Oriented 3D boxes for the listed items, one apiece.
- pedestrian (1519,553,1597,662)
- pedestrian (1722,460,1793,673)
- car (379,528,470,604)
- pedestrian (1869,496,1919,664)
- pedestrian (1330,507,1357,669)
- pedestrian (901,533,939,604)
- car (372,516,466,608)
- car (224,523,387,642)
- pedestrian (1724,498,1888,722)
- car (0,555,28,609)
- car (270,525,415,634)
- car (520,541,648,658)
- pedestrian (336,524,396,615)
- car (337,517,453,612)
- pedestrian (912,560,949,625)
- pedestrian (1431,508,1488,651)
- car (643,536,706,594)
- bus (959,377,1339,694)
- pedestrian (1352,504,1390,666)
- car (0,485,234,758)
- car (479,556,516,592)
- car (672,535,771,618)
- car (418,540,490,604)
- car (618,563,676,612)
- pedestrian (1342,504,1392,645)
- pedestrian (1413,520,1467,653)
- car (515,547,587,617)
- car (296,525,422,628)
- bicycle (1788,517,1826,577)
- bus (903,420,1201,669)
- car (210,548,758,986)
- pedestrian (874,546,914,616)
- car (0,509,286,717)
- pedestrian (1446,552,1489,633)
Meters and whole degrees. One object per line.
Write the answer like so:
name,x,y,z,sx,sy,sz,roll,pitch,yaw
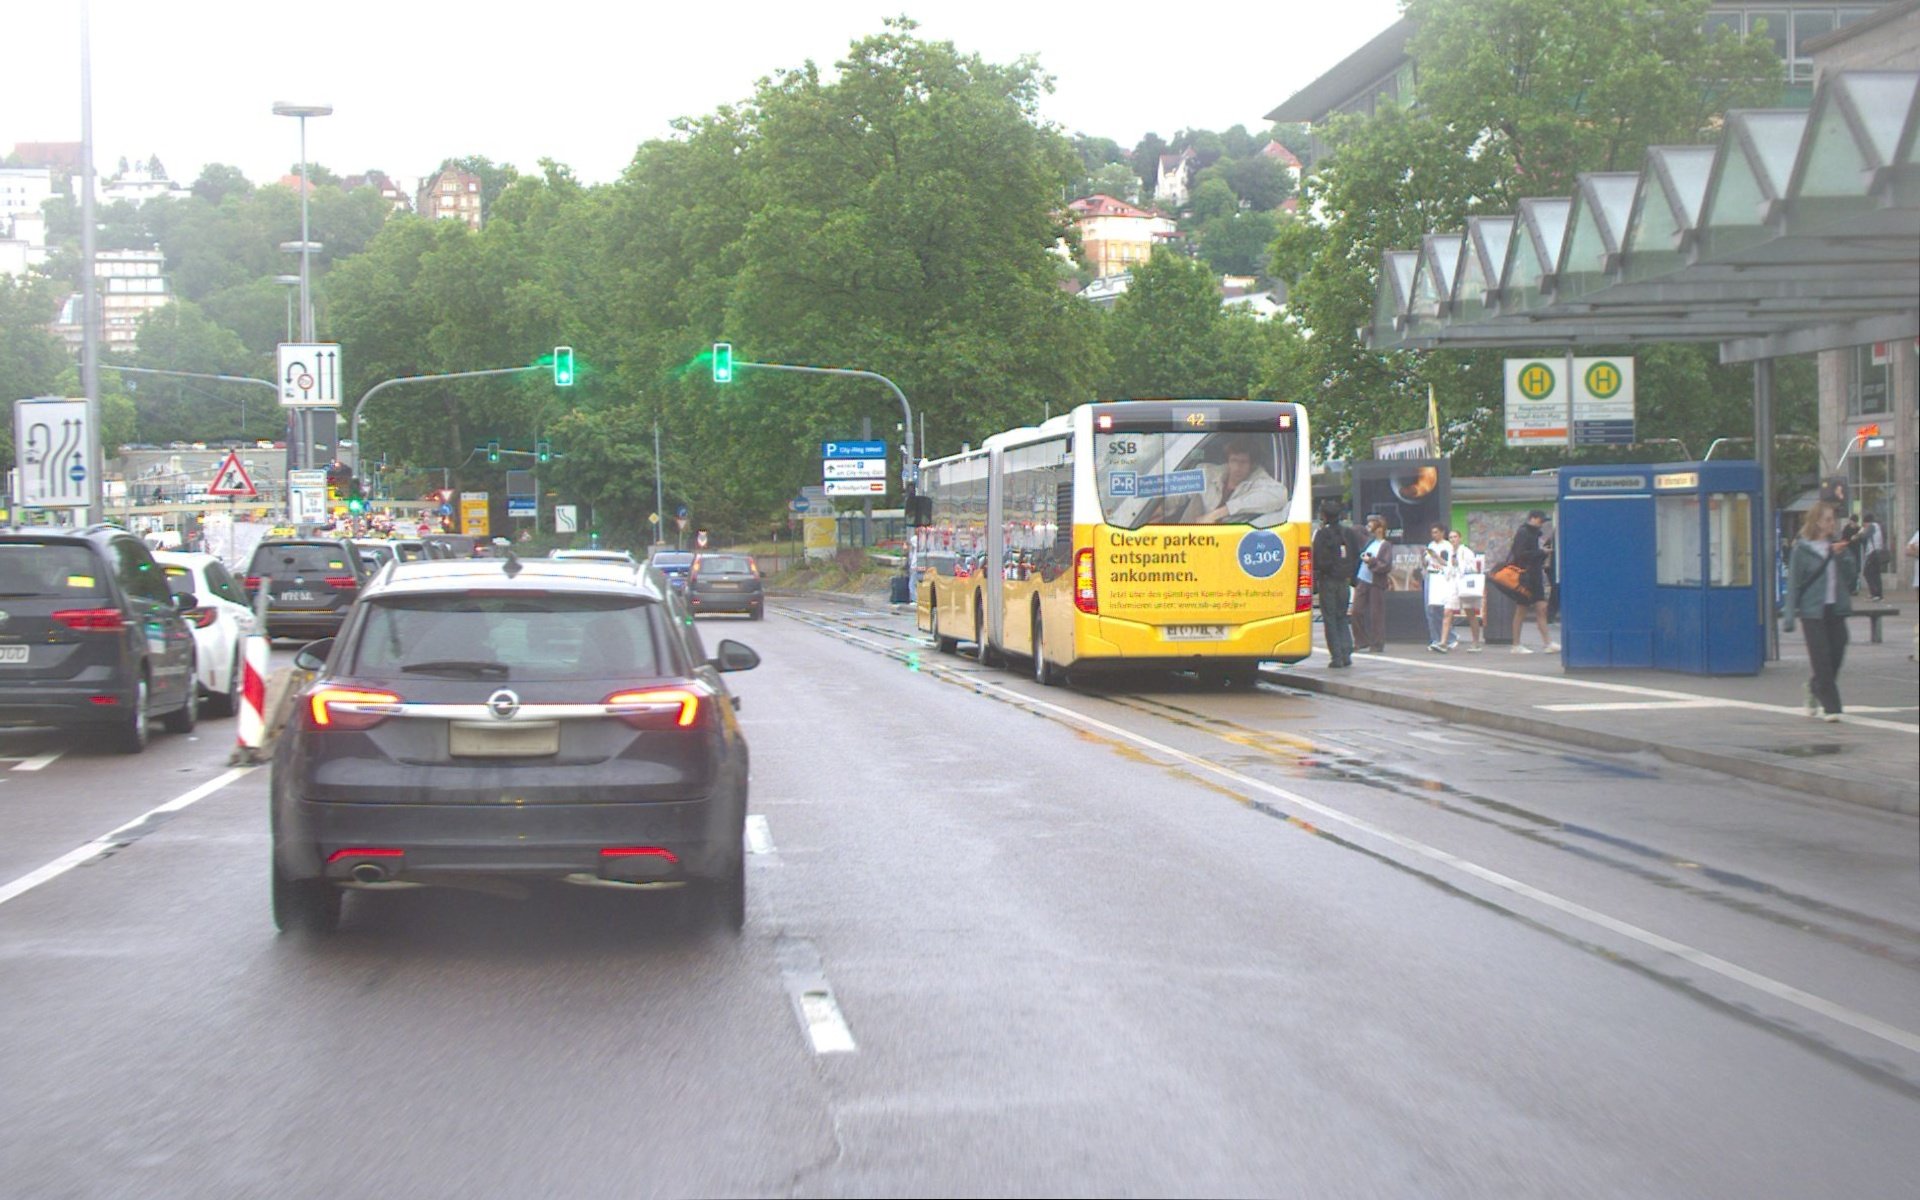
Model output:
pedestrian,10.056,0.121,57.838,0.989,1.786,0.789,-1,1,-33
pedestrian,8.371,-0.354,36.110,0.590,2.207,0.587,0,1,-3
car,-12.406,-0.812,79.894,1.786,1.680,4.667,-1,1,-5
pedestrian,10.488,-0.225,37.168,0.786,1.798,0.992,-1,1,-33
pedestrian,4.357,-0.143,39.061,0.243,1.830,0.512,0,1,-1
pedestrian,-1.016,-0.818,88.196,0.745,1.798,0.710,-1,1,-21
car,-11.584,-0.819,73.840,1.713,1.885,4.611,-1,1,-6
car,-9.648,-0.287,50.946,1.993,1.648,4.642,-1,1,-6
pedestrian,6.492,0.063,26.409,0.759,1.684,0.999,-1,1,-25
car,-27.562,-0.517,96.580,1.993,1.463,4.001,0,0,-5
car,-10.243,-0.371,57.351,2.049,1.705,5.056,-1,1,-7
car,-5.719,-0.041,52.379,1.830,1.680,4.135,-1,1,-6
pedestrian,-13.295,-0.692,76.925,0.835,2.007,1.026,0,1,32
car,-11.158,-0.710,68.200,1.993,1.781,4.849,-1,1,-6
pedestrian,-0.778,-0.203,90.001,0.875,1.685,0.758,-1,1,-6
pedestrian,6.407,-0.266,44.107,0.695,1.830,0.555,0,1,12
car,-8.030,-0.975,96.582,1.674,1.576,3.240,0,0,-6
bus,1.951,-0.694,39.873,3.141,3.236,9.137,0,0,-5
pedestrian,4.678,-0.175,39.126,0.347,1.830,0.533,0,1,-1
car,-6.871,0.118,25.983,1.993,1.856,4.833,-1,1,-4
car,-22.131,-1.244,164.444,1.705,1.660,3.707,0,0,-9
car,-5.106,-0.497,73.182,1.851,1.711,4.001,0,0,-7
car,-14.926,-0.822,101.202,1.993,1.839,5.064,0,0,-9
car,-11.228,-0.452,123.211,1.903,1.711,4.001,0,0,-7
pedestrian,5.325,-0.336,44.973,0.565,1.830,0.569,0,1,-2
pedestrian,6.259,-0.183,44.876,0.609,1.717,0.592,0,1,-1
car,-12.156,-0.535,102.038,1.983,2.007,4.371,0,0,-9
car,-10.867,-0.448,62.397,1.993,1.781,4.455,-1,1,-7
bicycle,23.329,-1.456,94.733,0.616,1.628,1.996,0,1,2
bus,1.118,-0.747,49.007,3.113,3.194,9.244,0,0,-6
car,-1.792,0.541,14.354,1.877,1.503,4.852,0,1,-3
pedestrian,-1.752,-0.507,91.128,0.786,1.832,0.950,-1,1,-20
car,-7.330,0.072,31.162,1.993,1.700,4.834,-1,1,-7
pedestrian,7.899,-0.121,53.524,0.514,1.228,0.770,-1,1,-2
